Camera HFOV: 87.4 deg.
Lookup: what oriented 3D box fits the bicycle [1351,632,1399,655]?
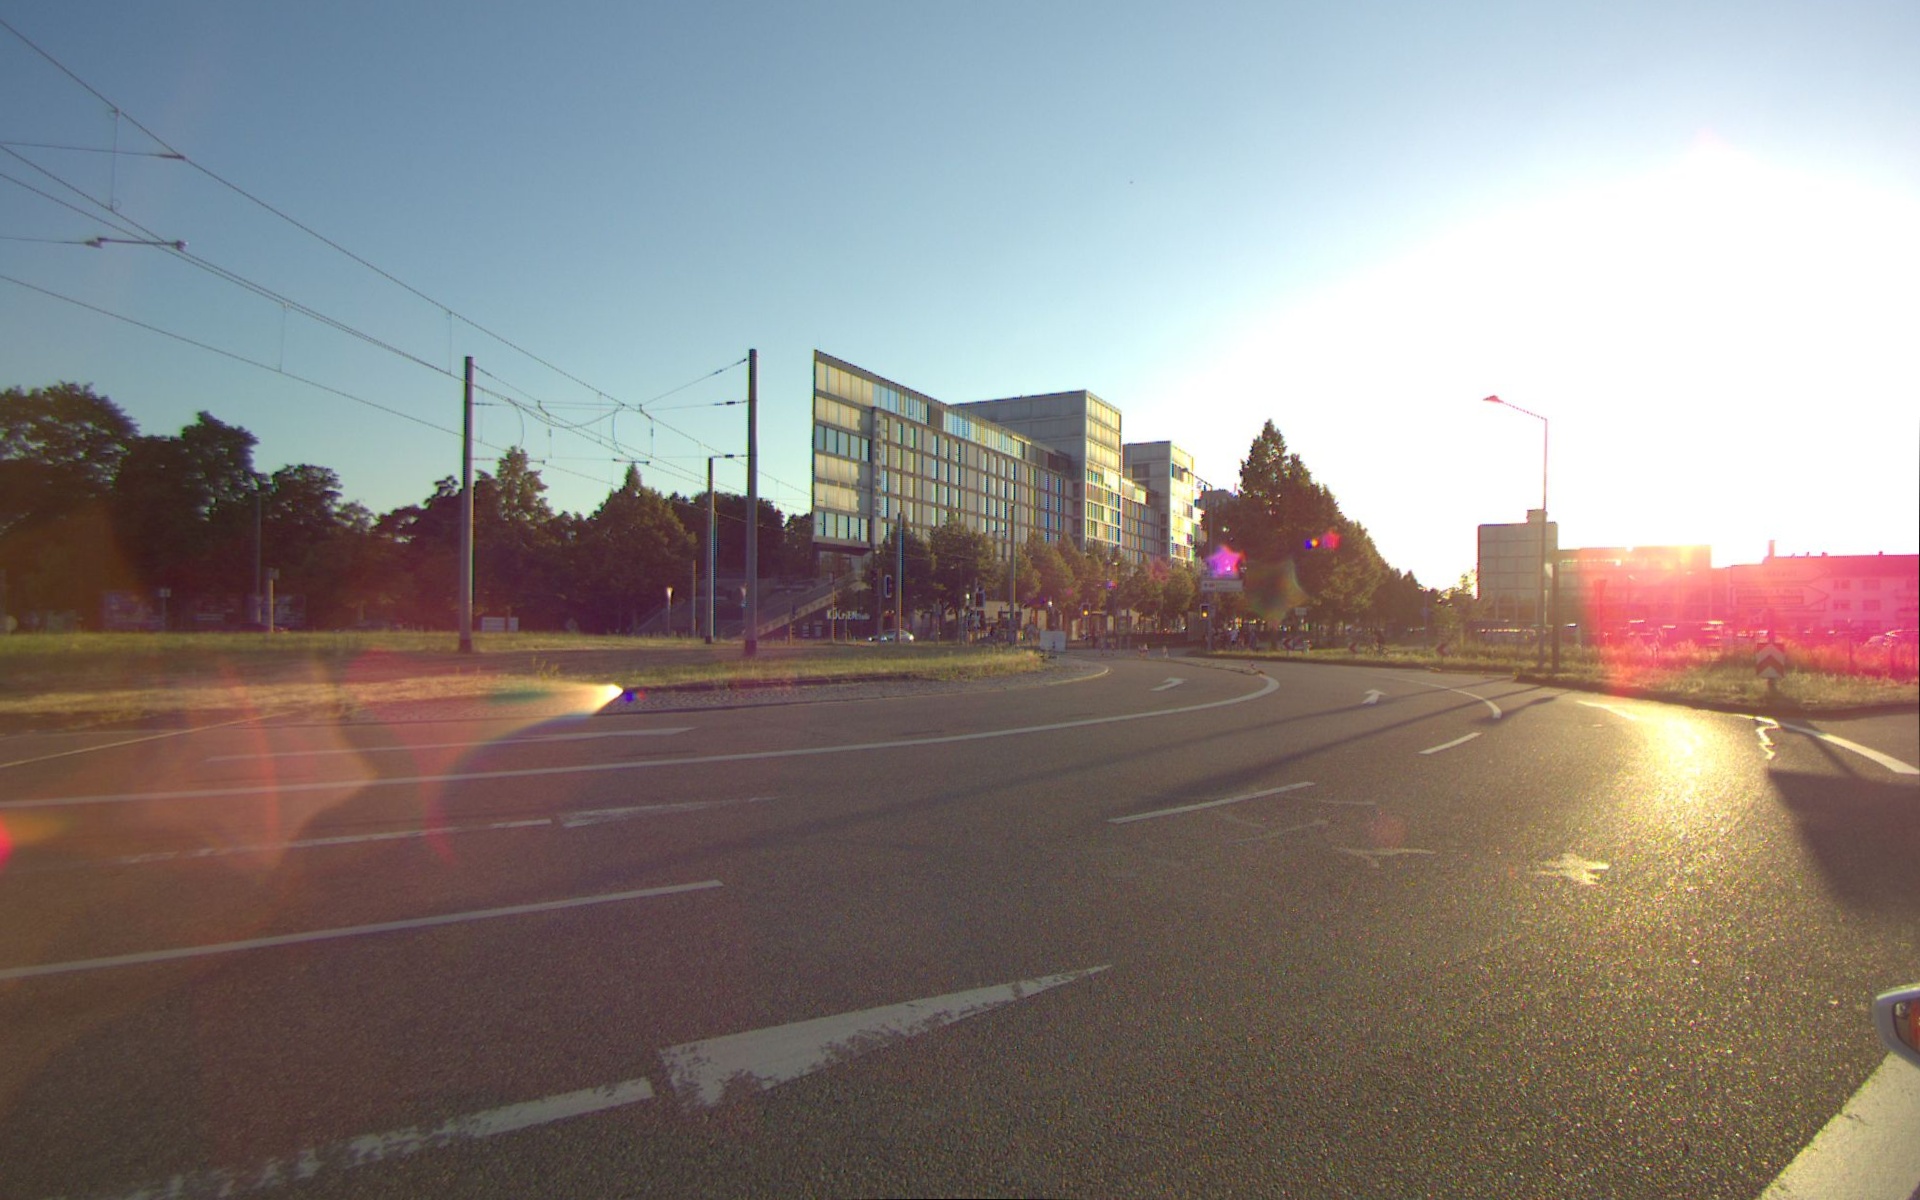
[{"bbox_3d":[22.262,2.317,53.888,0.747,1.182,2.386,1,-1,-34],"label":"bicycle"}]

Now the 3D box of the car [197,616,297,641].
[{"bbox_3d":[-42.615,1.694,60.096,4.507,1.451,1.944,0,-1,-5],"label":"car"}]

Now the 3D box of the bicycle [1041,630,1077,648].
[{"bbox_3d":[6.916,2.709,70.024,2.361,1.182,0.755,0,-1,16],"label":"bicycle"}]

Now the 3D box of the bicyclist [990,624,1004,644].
[{"bbox_3d":[2.642,2.452,71.826,0.862,1.411,0.755,0,-1,19],"label":"bicyclist"}]

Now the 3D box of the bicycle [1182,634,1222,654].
[{"bbox_3d":[14.989,2.723,62.325,0.750,1.182,2.377,2,-2,-45],"label":"bicycle"}]

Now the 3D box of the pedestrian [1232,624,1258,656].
[{"bbox_3d":[17.168,2.395,60.493,0.971,1.851,1.148,2,-1,-40],"label":"pedestrian"}]

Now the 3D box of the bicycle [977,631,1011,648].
[{"bbox_3d":[2.430,2.804,71.887,2.362,1.182,0.755,0,-1,19],"label":"bicycle"}]

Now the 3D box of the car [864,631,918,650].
[{"bbox_3d":[-5.766,3.394,84.898,1.964,1.565,5.193,0,-2,30],"label":"car"}]

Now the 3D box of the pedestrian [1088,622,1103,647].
[{"bbox_3d":[9.638,2.469,71.388,0.871,1.730,0.794,0,-1,22],"label":"pedestrian"}]

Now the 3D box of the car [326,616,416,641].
[{"bbox_3d":[-35.432,1.725,60.527,4.237,1.451,1.944,0,-1,-4],"label":"car"}]

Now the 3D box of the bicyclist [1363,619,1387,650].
[{"bbox_3d":[22.262,1.829,53.872,0.747,1.634,0.968,1,-1,-35],"label":"bicyclist"}]

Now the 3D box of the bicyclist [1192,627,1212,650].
[{"bbox_3d":[14.989,2.371,62.307,0.750,1.412,0.965,2,-2,-45],"label":"bicyclist"}]

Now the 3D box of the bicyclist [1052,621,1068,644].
[{"bbox_3d":[6.981,2.248,70.041,0.959,1.545,0.755,0,-1,16],"label":"bicyclist"}]
